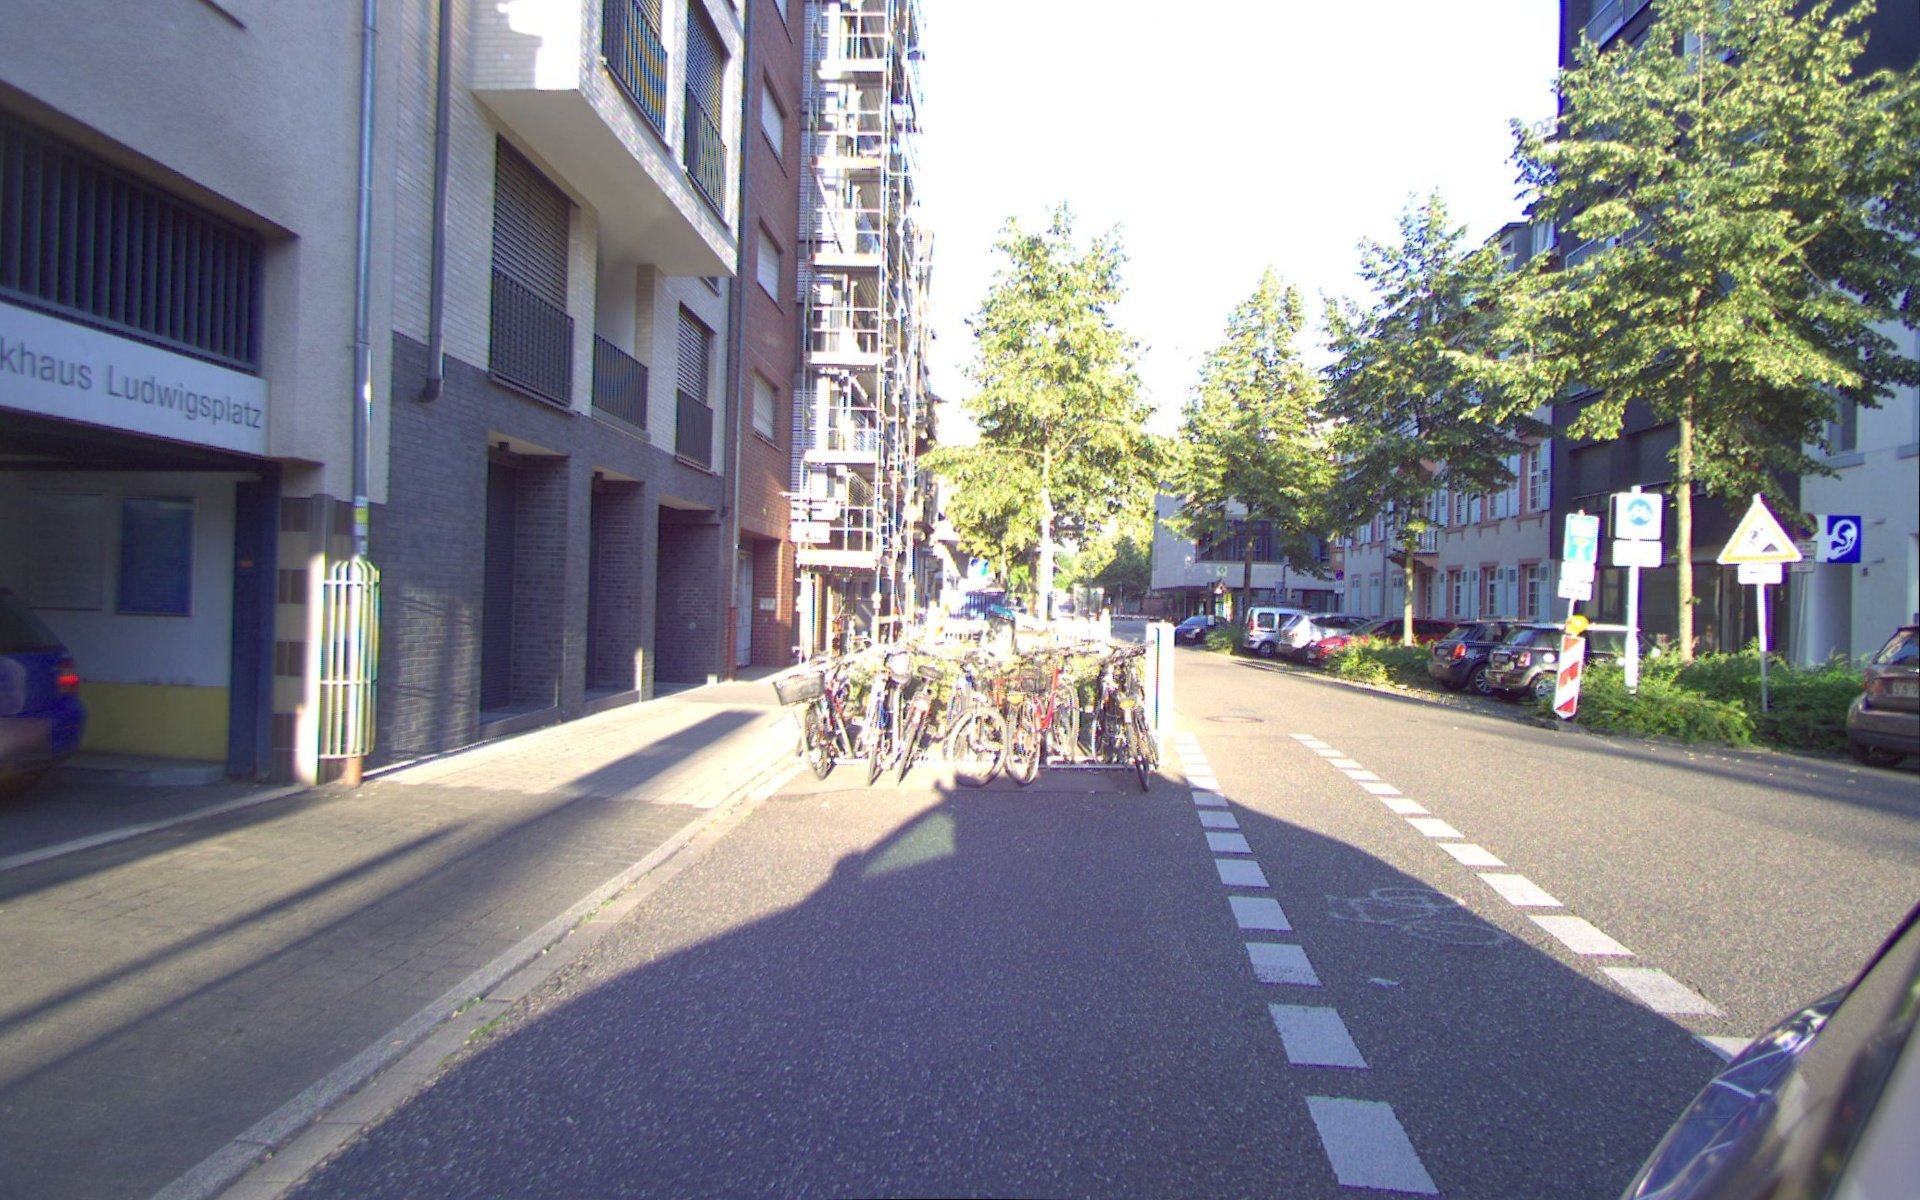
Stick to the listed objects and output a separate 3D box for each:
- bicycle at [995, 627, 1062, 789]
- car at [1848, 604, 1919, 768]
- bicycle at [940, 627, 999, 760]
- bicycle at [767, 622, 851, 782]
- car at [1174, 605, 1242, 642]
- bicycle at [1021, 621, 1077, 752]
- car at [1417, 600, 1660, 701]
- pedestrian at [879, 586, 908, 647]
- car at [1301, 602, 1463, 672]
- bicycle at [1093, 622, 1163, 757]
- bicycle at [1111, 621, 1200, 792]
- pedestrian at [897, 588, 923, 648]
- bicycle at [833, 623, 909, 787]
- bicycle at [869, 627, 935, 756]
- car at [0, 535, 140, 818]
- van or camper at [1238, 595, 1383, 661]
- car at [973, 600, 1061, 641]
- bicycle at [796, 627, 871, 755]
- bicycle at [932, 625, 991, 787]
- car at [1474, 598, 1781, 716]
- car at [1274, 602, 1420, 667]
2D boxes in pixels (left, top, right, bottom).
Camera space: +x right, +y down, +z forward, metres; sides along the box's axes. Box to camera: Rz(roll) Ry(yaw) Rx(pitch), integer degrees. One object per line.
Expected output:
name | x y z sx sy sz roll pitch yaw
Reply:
bicycle | 0.595 0.835 8.439 0.411 1.171 1.548 2 0 8
car | 11.106 0.896 9.907 3.416 1.595 1.507 2 0 1
bicycle | 0.115 0.882 10.116 0.480 1.164 1.550 2 0 3
bicycle | -1.245 0.803 8.542 0.381 1.198 1.404 2 0 3
car | 11.853 1.141 48.226 1.848 1.588 3.647 3 0 36
bicycle | 0.878 0.817 10.200 0.480 1.178 1.550 2 0 3
car | 11.282 0.954 19.942 3.629 1.691 1.857 3 0 2
pedestrian | -2.000 0.485 30.498 0.730 1.806 0.656 1 -1 4
car | 11.629 0.997 28.098 3.629 1.691 1.857 3 0 2
bicycle | 1.645 0.839 10.090 0.500 1.193 1.550 2 0 3
bicycle | 1.585 0.816 8.384 0.490 1.236 1.550 2 0 3
pedestrian | -1.520 0.535 30.888 0.730 1.806 0.656 1 -1 2
bicycle | -0.714 0.818 8.481 0.380 1.204 1.550 2 0 3
bicycle | -0.565 0.877 10.278 0.460 1.158 1.550 2 0 3
car | -7.350 0.309 5.728 4.043 1.583 1.693 4 0 2
van or camper | 12.332 0.969 35.773 4.372 2.031 1.857 3 0 2
car | 2.671 0.949 46.916 3.931 1.705 1.887 2 0 6
bicycle | -1.257 0.874 10.275 0.450 1.146 1.550 2 0 3
bicycle | 0.036 0.820 8.414 0.375 1.174 1.550 2 0 3
car | 11.316 0.919 17.389 3.934 1.691 1.857 3 0 2
car | 11.668 1.010 30.668 3.629 1.691 1.857 3 0 2
